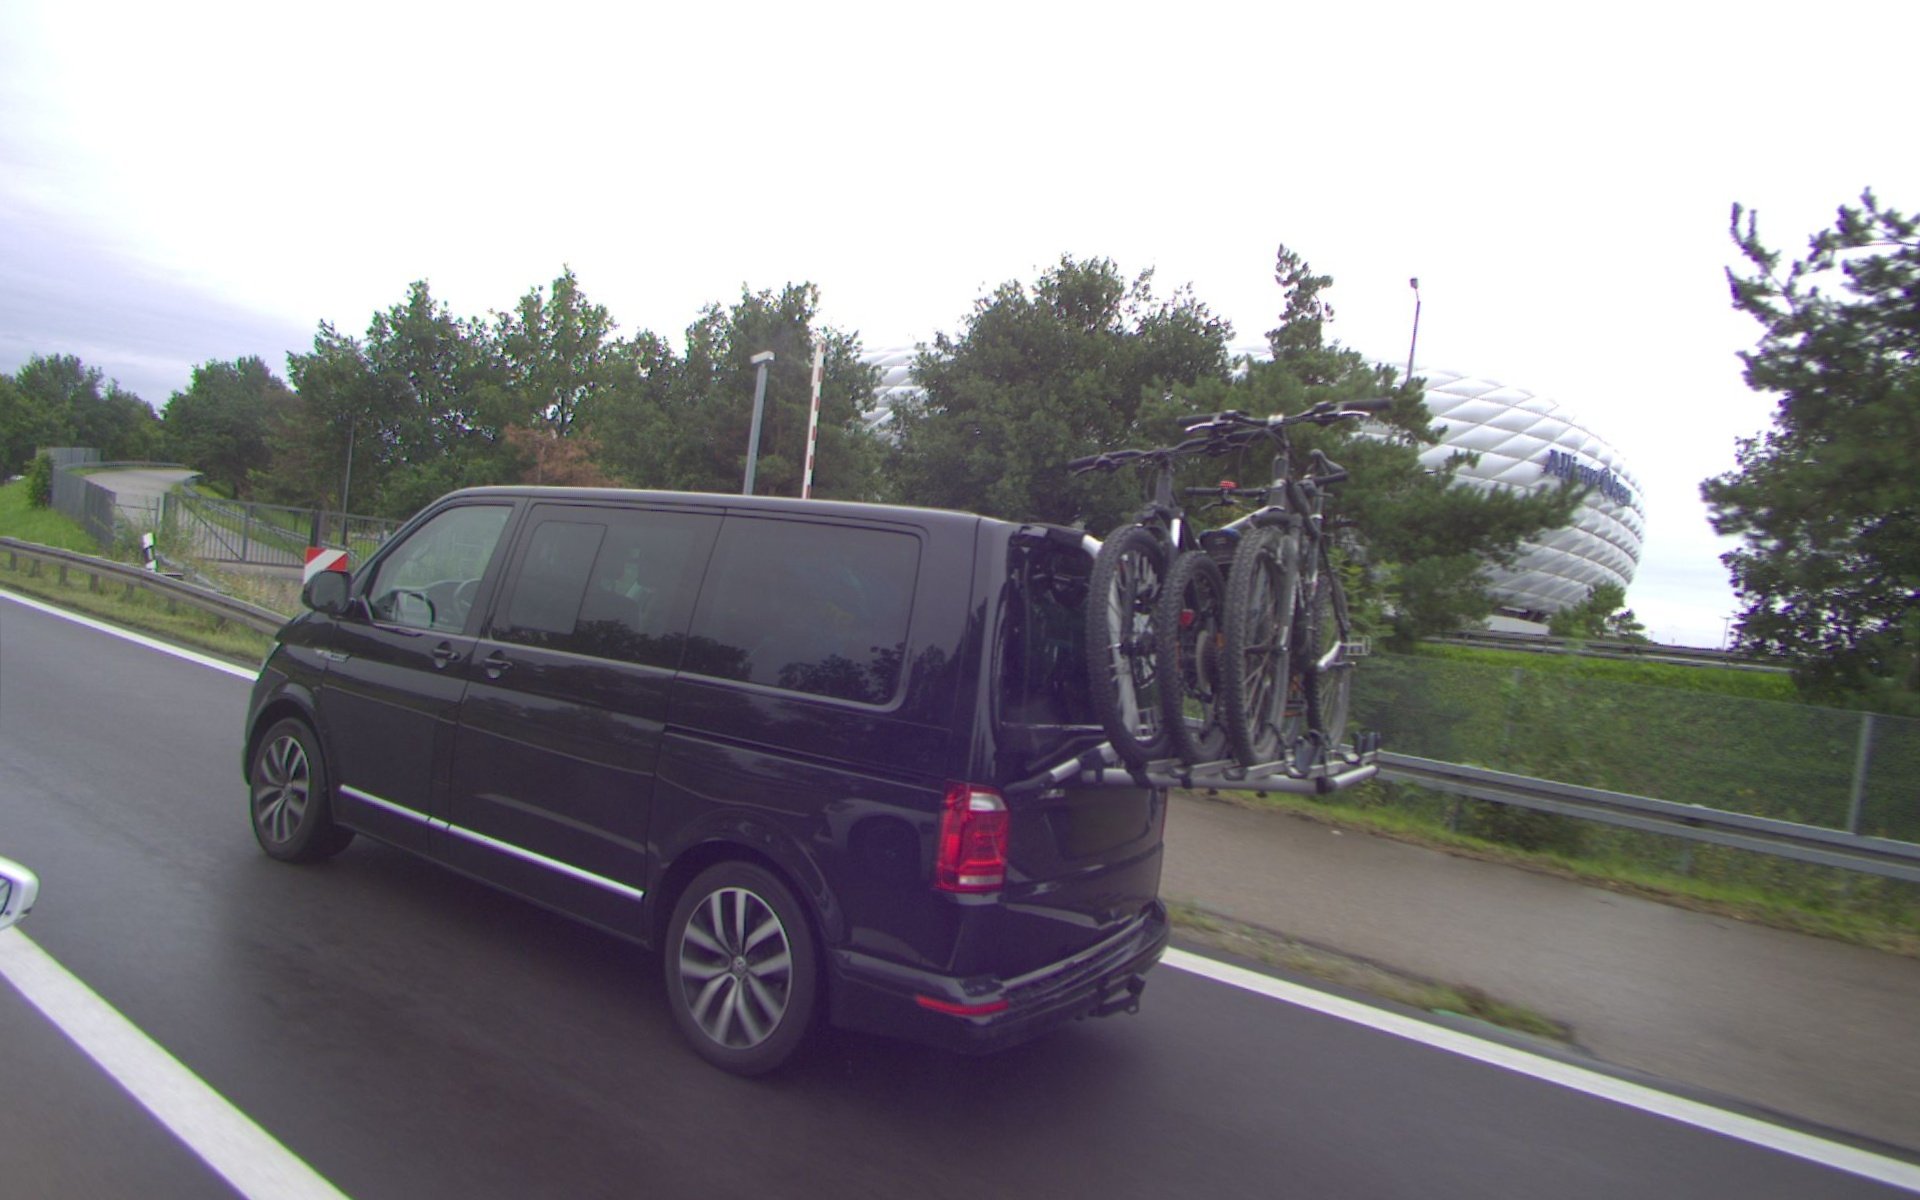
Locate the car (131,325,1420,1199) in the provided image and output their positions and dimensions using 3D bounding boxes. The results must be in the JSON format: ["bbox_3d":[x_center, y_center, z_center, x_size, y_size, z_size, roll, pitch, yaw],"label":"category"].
[{"bbox_3d":[-1.224,0.306,4.746,5.797,2.290,2.115,7,-2,31],"label":"car"}]
